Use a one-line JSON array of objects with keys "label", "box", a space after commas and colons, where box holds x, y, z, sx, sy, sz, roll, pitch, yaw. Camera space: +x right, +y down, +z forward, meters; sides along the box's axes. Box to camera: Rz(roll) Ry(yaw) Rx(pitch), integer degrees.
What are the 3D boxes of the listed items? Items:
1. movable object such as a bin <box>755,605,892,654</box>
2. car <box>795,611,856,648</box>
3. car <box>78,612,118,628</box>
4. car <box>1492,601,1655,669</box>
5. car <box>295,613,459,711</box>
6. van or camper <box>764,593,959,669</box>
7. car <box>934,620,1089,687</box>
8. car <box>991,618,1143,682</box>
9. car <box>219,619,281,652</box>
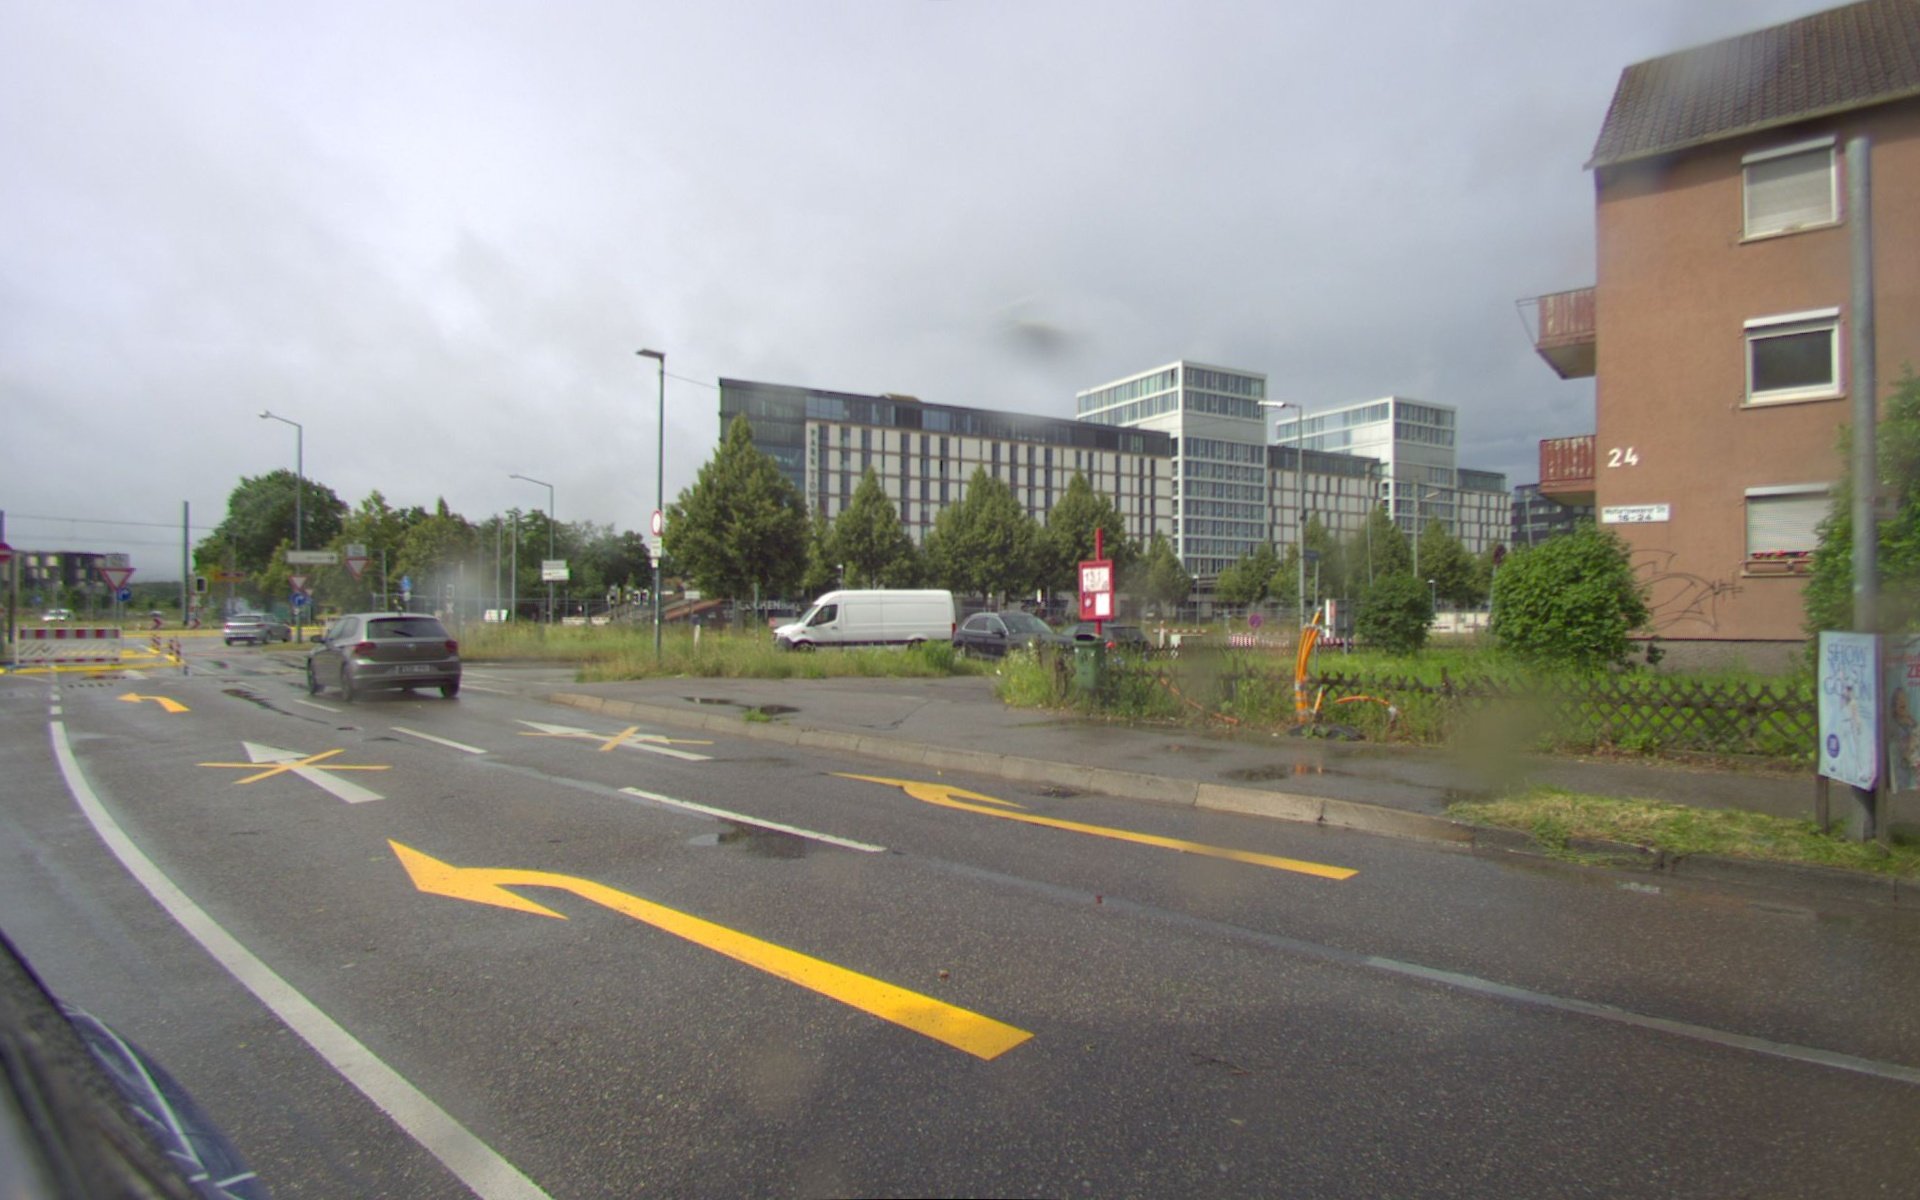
[{"label": "movable object such as a bin", "box": [-6.966, 1.457, 51.514, 6.500, 2.405, 2.684, 0, -1, -18]}, {"label": "car", "box": [-7.742, 1.649, 57.981, 1.966, 2.029, 4.011, 1, -1, -32]}, {"label": "car", "box": [-88.637, 2.065, 104.086, 1.642, 1.541, 3.488, -1, -1, -10]}, {"label": "car", "box": [19.741, 1.111, 32.797, 1.686, 2.034, 4.336, 0, -1, -22]}, {"label": "car", "box": [-10.221, 1.014, 17.619, 1.660, 1.519, 3.797, 1, -2, -43]}, {"label": "van or camper", "box": [-3.696, 1.113, 37.897, 6.863, 2.667, 2.519, 0, -1, -18]}, {"label": "car", "box": [1.284, 1.366, 27.094, 1.731, 1.630, 4.336, 0, -1, -38]}, {"label": "car", "box": [2.896, 1.334, 28.192, 1.731, 1.630, 4.267, 0, -1, -38]}, {"label": "car", "box": [-32.990, 1.598, 47.123, 1.713, 1.425, 4.193, 0, -1, -26]}]
